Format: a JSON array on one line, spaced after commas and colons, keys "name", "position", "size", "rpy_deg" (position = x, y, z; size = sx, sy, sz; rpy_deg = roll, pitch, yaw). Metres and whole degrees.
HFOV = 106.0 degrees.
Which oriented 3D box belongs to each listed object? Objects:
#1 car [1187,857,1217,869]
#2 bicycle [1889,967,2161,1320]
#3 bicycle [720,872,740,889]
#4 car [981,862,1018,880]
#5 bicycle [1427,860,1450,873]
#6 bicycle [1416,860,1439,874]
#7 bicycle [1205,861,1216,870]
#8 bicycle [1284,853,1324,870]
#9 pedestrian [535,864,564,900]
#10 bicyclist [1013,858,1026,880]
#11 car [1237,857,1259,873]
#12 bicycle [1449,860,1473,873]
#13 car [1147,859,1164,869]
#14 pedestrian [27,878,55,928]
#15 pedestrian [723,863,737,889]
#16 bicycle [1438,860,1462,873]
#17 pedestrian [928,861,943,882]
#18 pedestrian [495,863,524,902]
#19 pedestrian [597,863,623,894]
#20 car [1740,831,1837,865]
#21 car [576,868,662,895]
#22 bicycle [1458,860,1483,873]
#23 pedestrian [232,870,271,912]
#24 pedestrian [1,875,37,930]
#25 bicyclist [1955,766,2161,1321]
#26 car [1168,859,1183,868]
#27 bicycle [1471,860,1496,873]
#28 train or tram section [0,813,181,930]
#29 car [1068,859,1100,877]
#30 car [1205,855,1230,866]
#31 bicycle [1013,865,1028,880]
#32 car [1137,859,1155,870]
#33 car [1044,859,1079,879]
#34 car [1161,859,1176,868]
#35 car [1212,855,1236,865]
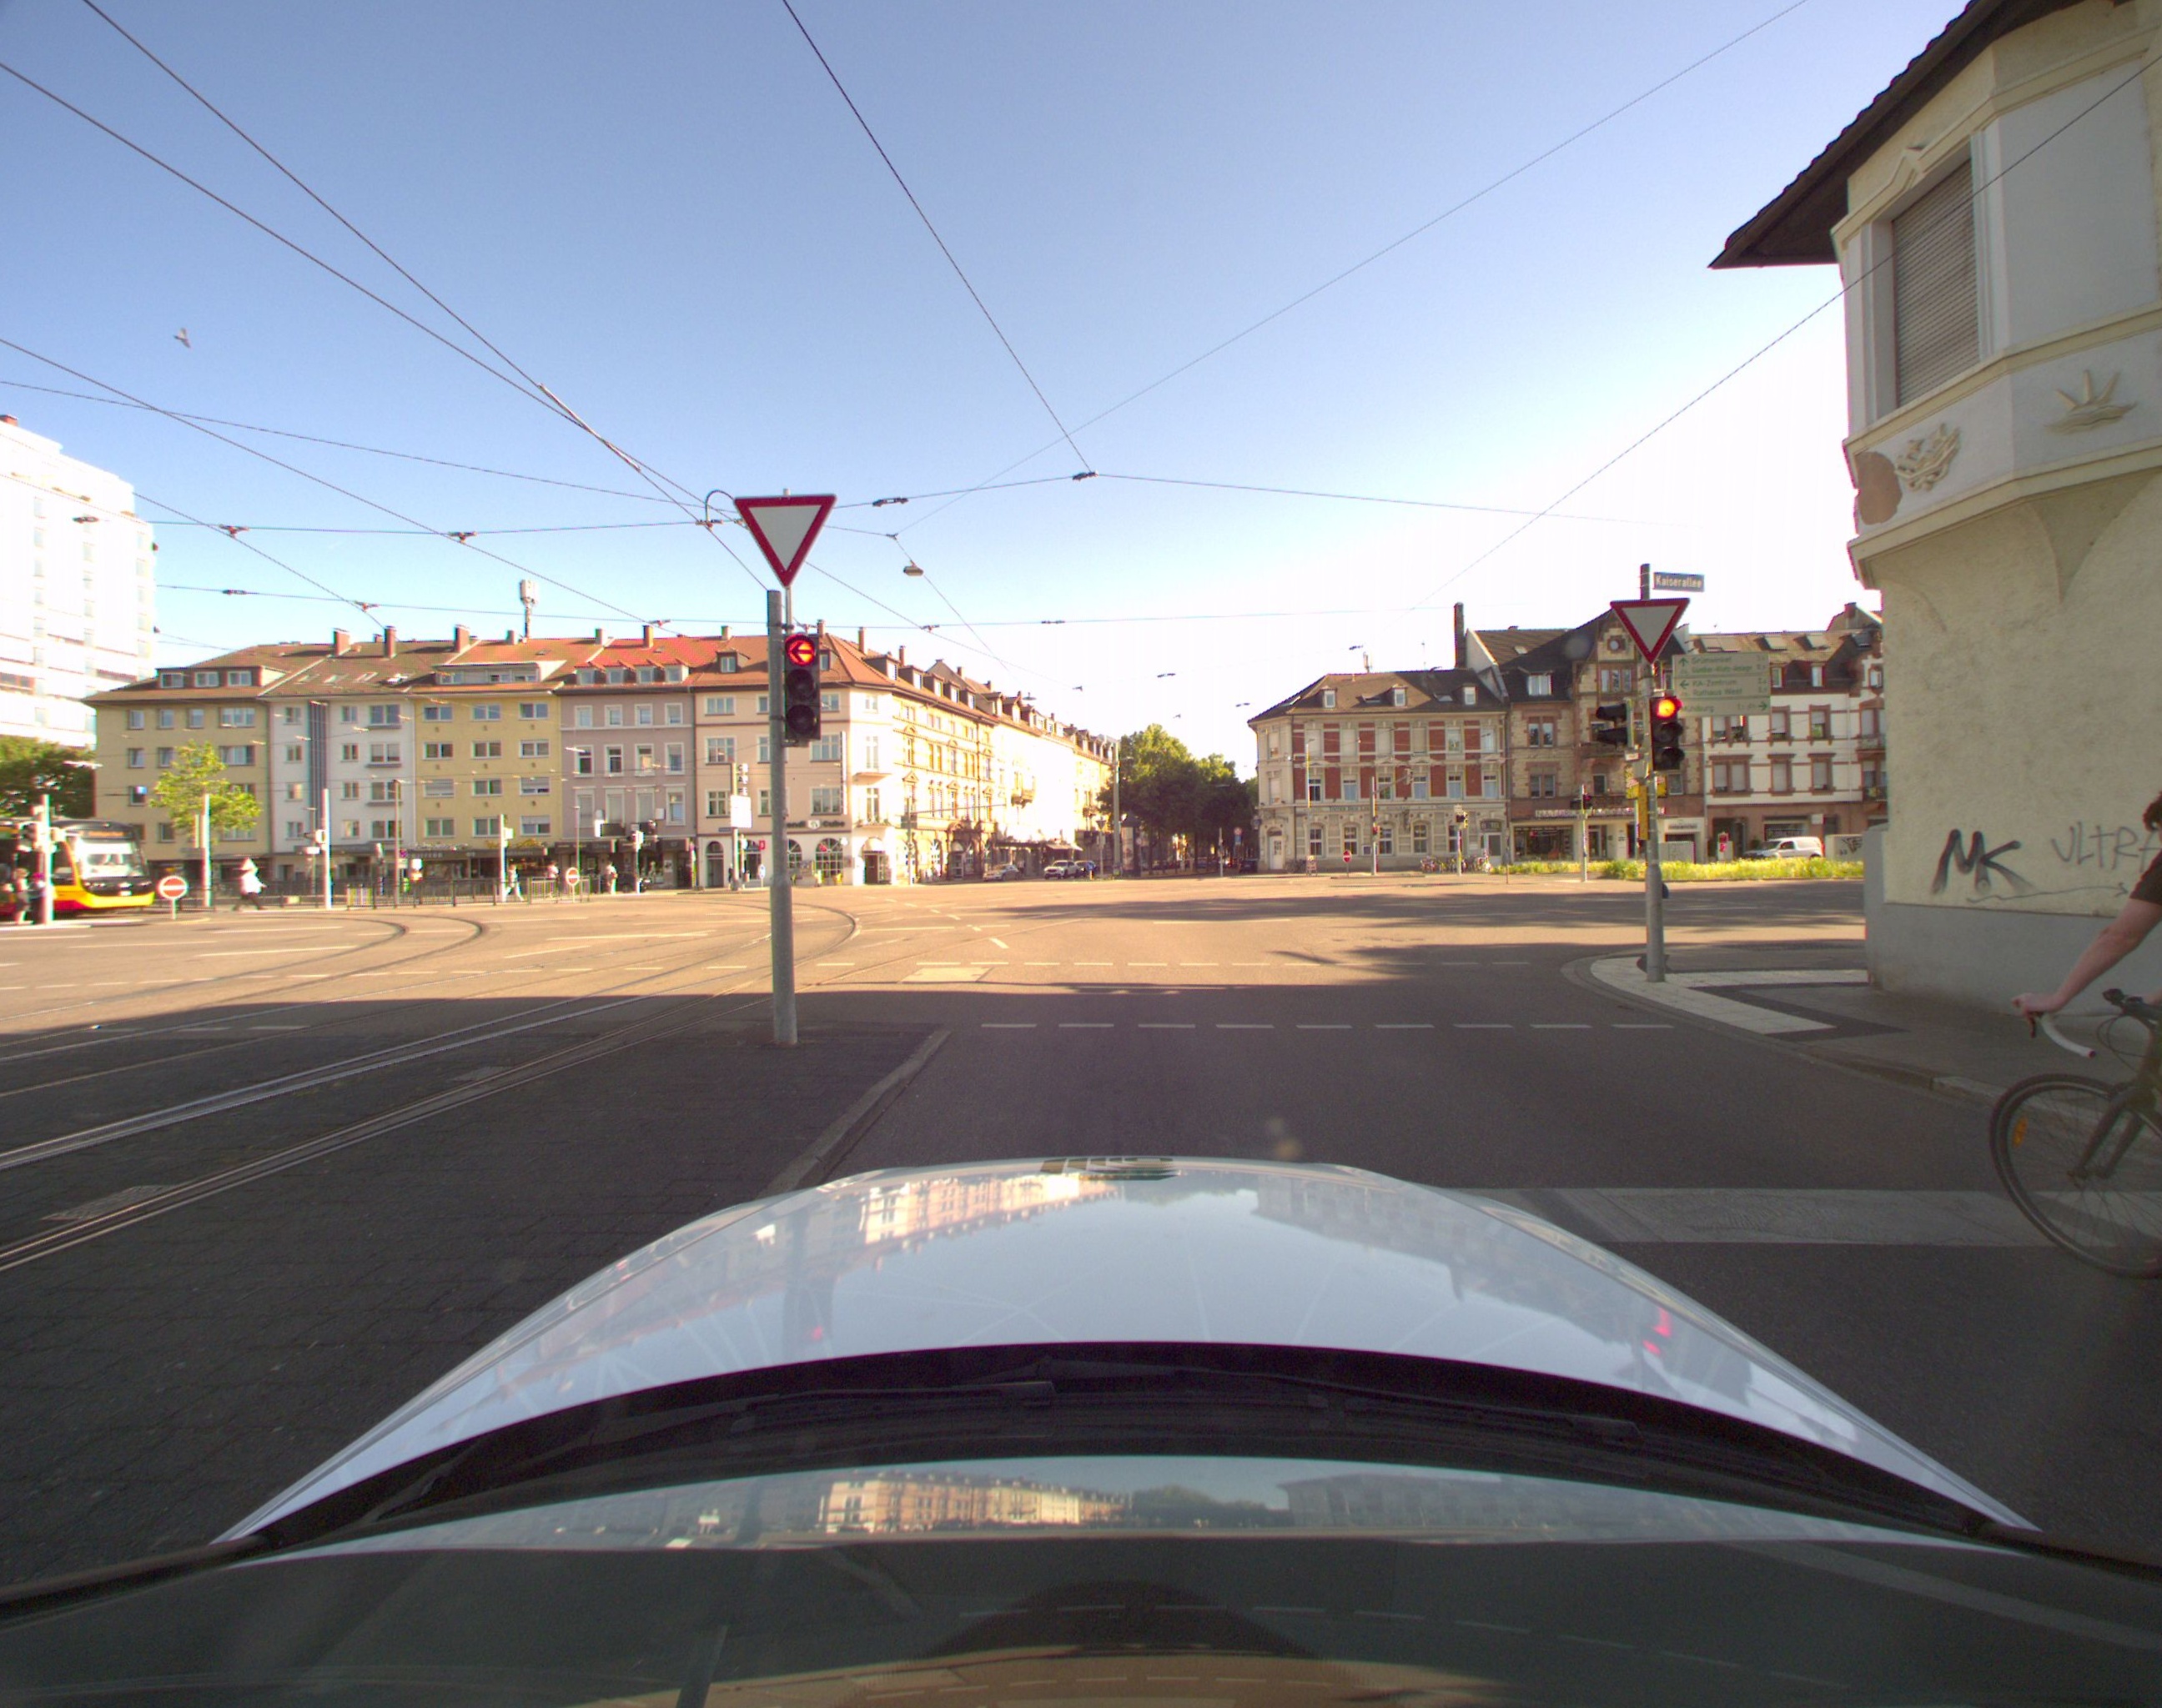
[{"name": "car", "position": [17.206, 1.255, 115.459], "size": [3.870, 1.648, 1.691], "rpy_deg": [-2, 0, 19]}, {"name": "bicycle", "position": [3.609, 0.959, 2.513], "size": [0.516, 0.970, 1.750], "rpy_deg": [-1, 0, 2]}, {"name": "bicycle", "position": [-22.851, 1.742, 53.017], "size": [0.570, 1.077, 1.497], "rpy_deg": [0, -1, 2]}, {"name": "car", "position": [-6.705, 1.423, 67.229], "size": [1.664, 1.354, 3.608], "rpy_deg": [-2, 0, 19]}, {"name": "bicycle", "position": [23.166, 0.821, 52.761], "size": [0.656, 0.840, 2.162], "rpy_deg": [0, -1, 3]}, {"name": "bicycle", "position": [22.431, 0.826, 52.702], "size": [0.656, 0.840, 2.162], "rpy_deg": [0, -1, 3]}, {"name": "bicycle", "position": [15.772, 1.390, 99.284], "size": [0.636, 1.021, 1.839], "rpy_deg": [0, -1, -12]}, {"name": "bicycle", "position": [15.609, 0.500, 57.064], "size": [2.547, 1.174, 0.818], "rpy_deg": [0, -1, -1]}, {"name": "pedestrian", "position": [-23.931, 1.259, 36.666], "size": [0.720, 1.577, 0.836], "rpy_deg": [-1, -1, 11]}, {"name": "bicyclist", "position": [-4.936, 1.208, 65.418], "size": [0.772, 1.803, 1.060], "rpy_deg": [-1, -1, 16]}, {"name": "car", "position": [16.908, 1.096, 82.339], "size": [1.664, 1.483, 3.967], "rpy_deg": [-2, 0, 19]}, {"name": "bicycle", "position": [24.574, 0.810, 52.753], "size": [0.656, 0.840, 2.162], "rpy_deg": [0, -1, 3]}, {"name": "car", "position": [11.244, 1.508, 122.368], "size": [1.664, 1.354, 3.608], "rpy_deg": [-2, 0, 19]}, {"name": "pedestrian", "position": [-31.907, 1.497, 24.993], "size": [0.456, 1.505, 0.485], "rpy_deg": [-1, 1, 38]}, {"name": "pedestrian", "position": [-22.851, 1.449, 53.048], "size": [0.580, 1.670, 0.753], "rpy_deg": [0, -1, 2]}, {"name": "bicycle", "position": [23.891, 0.815, 52.746], "size": [0.656, 0.840, 2.162], "rpy_deg": [0, -1, 3]}, {"name": "pedestrian", "position": [-11.327, 1.347, 63.403], "size": [0.770, 1.670, 0.834], "rpy_deg": [-1, -1, 17]}, {"name": "pedestrian", "position": [-23.798, 1.175, 33.899], "size": [0.545, 1.577, 0.838], "rpy_deg": [-1, -1, 29]}, {"name": "pedestrian", "position": [-24.582, 1.285, 42.528], "size": [0.842, 1.577, 0.836], "rpy_deg": [-1, -1, 11]}, {"name": "car", "position": [45.449, -0.380, 52.408], "size": [4.406, 2.013, 2.002], "rpy_deg": [-1, 0, 4]}, {"name": "car", "position": [-30.360, 1.787, 53.639], "size": [4.347, 1.711, 2.308], "rpy_deg": [0, -1, 4]}, {"name": "bicycle", "position": [25.210, 0.805, 52.708], "size": [0.656, 0.840, 2.162], "rpy_deg": [0, -1, 3]}, {"name": "pedestrian", "position": [-31.311, 1.381, 30.746], "size": [0.657, 1.577, 0.889], "rpy_deg": [-1, -1, 29]}, {"name": "pedestrian", "position": [-32.913, 1.498, 25.242], "size": [0.456, 1.644, 0.643], "rpy_deg": [-1, 1, 38]}, {"name": "bicyclist", "position": [3.584, 0.578, 2.504], "size": [0.570, 1.701, 1.117], "rpy_deg": [-1, 0, 2]}, {"name": "car", "position": [15.721, 1.518, 135.606], "size": [1.664, 1.354, 3.608], "rpy_deg": [-2, 0, 19]}, {"name": "bicycle", "position": [26.014, 0.799, 52.722], "size": [0.656, 0.840, 2.162], "rpy_deg": [0, -1, 3]}, {"name": "train or tram section", "position": [-39.746, 0.705, 28.581], "size": [12.967, 3.814, 2.941], "rpy_deg": [-1, 0, 0]}, {"name": "car", "position": [0.312, 1.240, 73.773], "size": [1.664, 1.483, 3.967], "rpy_deg": [-2, 0, 19]}, {"name": "car", "position": [21.450, 1.057, 127.726], "size": [3.549, 1.648, 1.691], "rpy_deg": [-2, 0, 19]}, {"name": "bicycle", "position": [-4.889, 1.483, 65.538], "size": [0.696, 1.118, 1.642], "rpy_deg": [-1, -1, 16]}, {"name": "car", "position": [9.175, 1.490, 115.451], "size": [1.664, 1.354, 3.608], "rpy_deg": [-2, 0, 19]}, {"name": "car", "position": [-1.600, 1.213, 67.514], "size": [1.664, 1.483, 3.789], "rpy_deg": [-2, 0, 19]}, {"name": "car", "position": [14.034, 1.500, 130.613], "size": [1.664, 1.354, 3.608], "rpy_deg": [-2, 0, 19]}, {"name": "car", "position": [23.356, 0.964, 133.159], "size": [3.549, 1.648, 1.691], "rpy_deg": [-2, 0, 19]}]
